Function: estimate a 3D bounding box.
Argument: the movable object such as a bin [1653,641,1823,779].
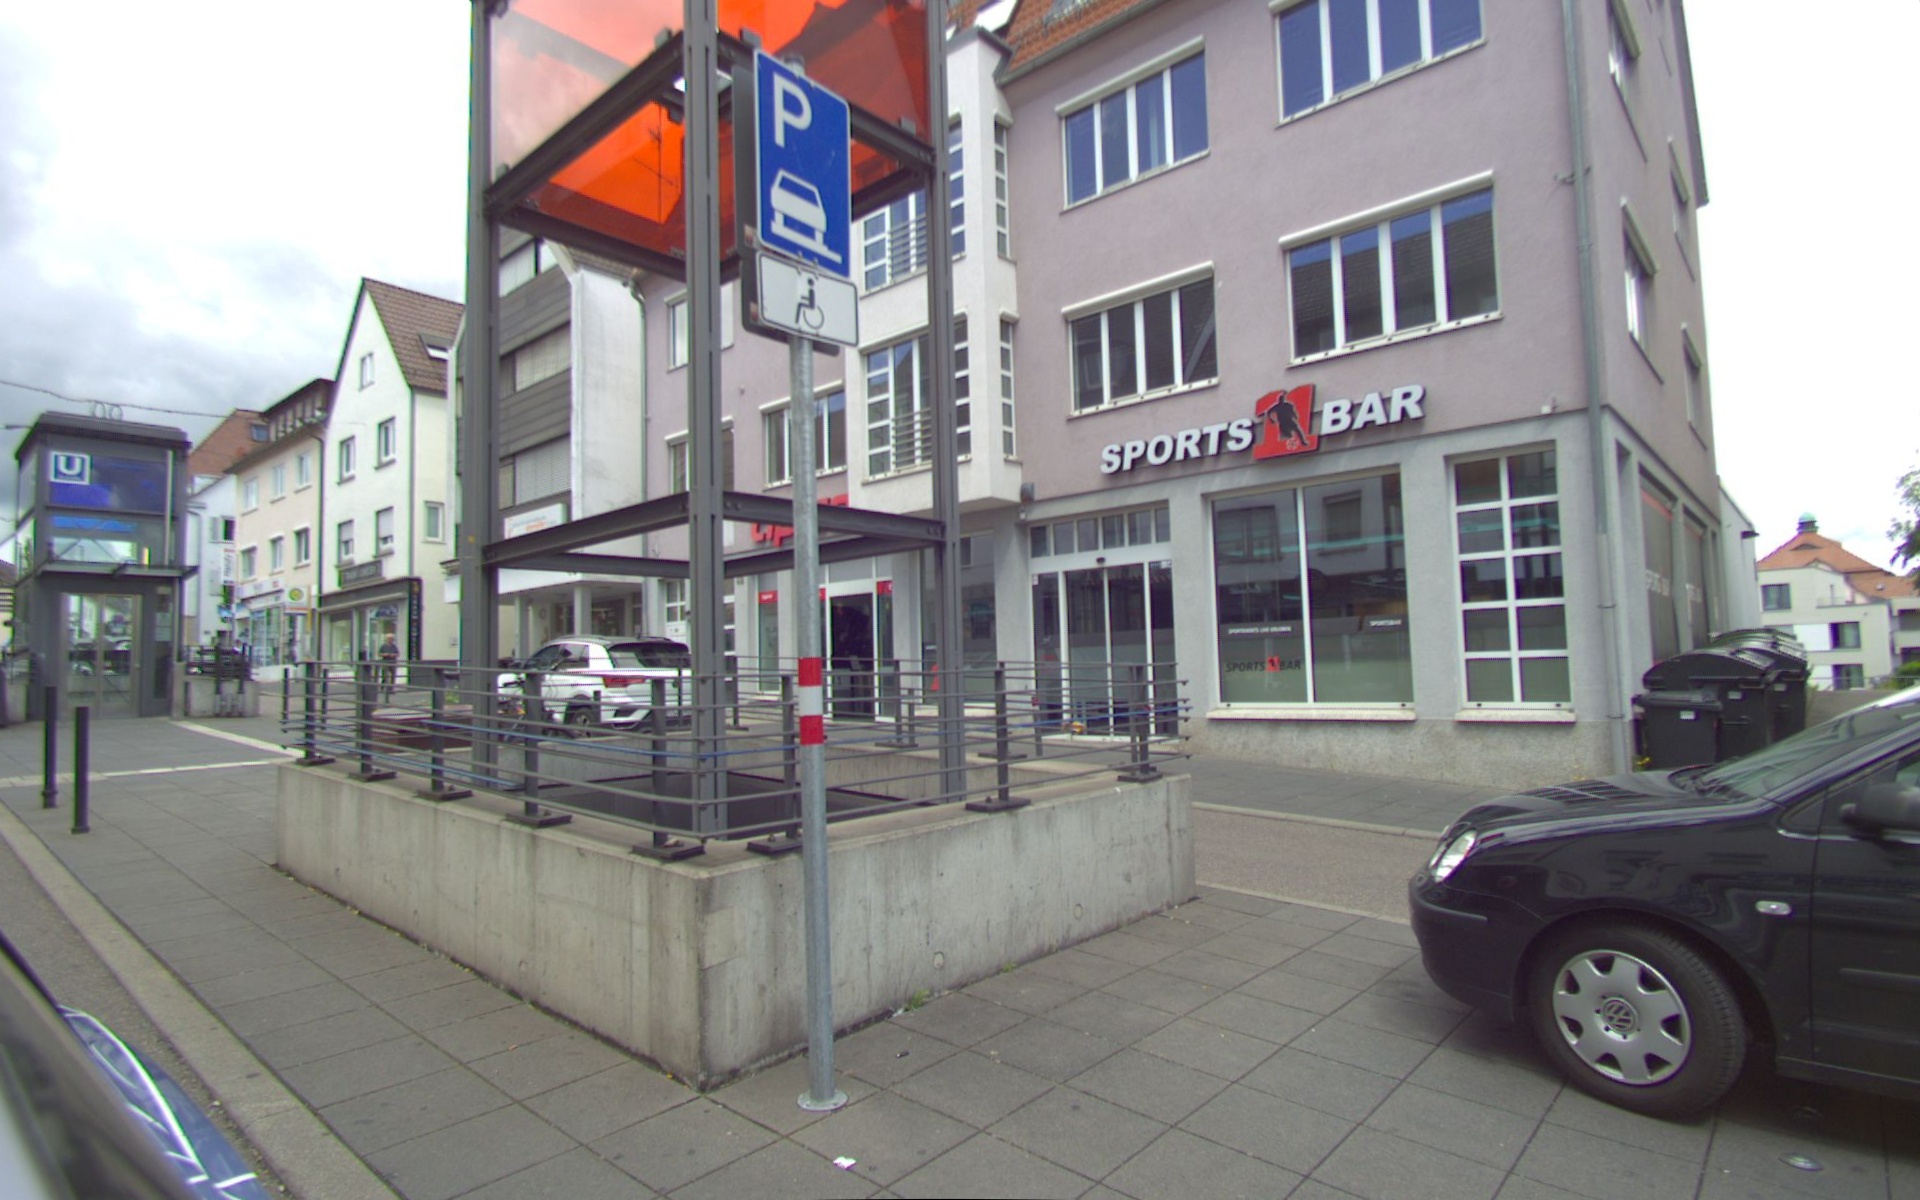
[{"bbox_3d":[8.680,1.161,11.297,1.406,1.387,1.270,-2,-2,41],"label":"movable object such as a bin"}]

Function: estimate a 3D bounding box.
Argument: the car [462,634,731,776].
[{"bbox_3d":[-5.041,1.292,13.764,4.120,1.583,1.662,-1,-1,41],"label":"car"}]

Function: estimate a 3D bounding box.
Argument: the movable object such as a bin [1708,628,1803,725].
[{"bbox_3d":[12.092,1.124,15.380,1.043,1.387,1.270,-2,-2,41],"label":"movable object such as a bin"}]

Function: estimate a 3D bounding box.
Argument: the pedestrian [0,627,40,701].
[{"bbox_3d":[-24.539,1.635,26.120,0.931,1.856,1.083,-1,-1,42],"label":"pedestrian"}]

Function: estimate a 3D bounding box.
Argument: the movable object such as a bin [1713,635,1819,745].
[{"bbox_3d":[10.904,1.175,13.691,1.043,1.387,1.270,-2,-2,41],"label":"movable object such as a bin"}]

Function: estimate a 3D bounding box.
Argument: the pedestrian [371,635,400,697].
[{"bbox_3d":[-16.231,1.852,28.594,0.513,1.729,0.584,-1,-1,41],"label":"pedestrian"}]

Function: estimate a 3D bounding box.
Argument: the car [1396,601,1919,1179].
[{"bbox_3d":[3.462,0.776,2.851,3.851,1.486,1.553,-1,-4,38],"label":"car"}]

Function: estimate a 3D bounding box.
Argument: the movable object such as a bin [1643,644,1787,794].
[{"bbox_3d":[7.770,1.158,10.405,1.067,1.387,1.270,-2,-2,41],"label":"movable object such as a bin"}]

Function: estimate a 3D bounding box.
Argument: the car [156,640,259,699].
[{"bbox_3d":[-22.720,2.042,30.501,4.120,1.583,1.662,-1,-1,41],"label":"car"}]

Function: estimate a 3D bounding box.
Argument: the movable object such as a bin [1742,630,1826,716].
[{"bbox_3d":[13.957,1.199,17.133,1.043,1.387,1.270,-2,-2,41],"label":"movable object such as a bin"}]

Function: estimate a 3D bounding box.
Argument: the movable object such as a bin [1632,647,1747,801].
[{"bbox_3d":[7.030,1.153,9.756,0.807,1.387,0.682,-2,-3,41],"label":"movable object such as a bin"}]

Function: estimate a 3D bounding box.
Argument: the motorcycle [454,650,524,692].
[{"bbox_3d":[-14.246,2.135,30.666,0.634,1.149,1.830,-1,-1,40],"label":"motorcycle"}]

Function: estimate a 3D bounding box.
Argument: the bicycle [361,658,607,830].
[{"bbox_3d":[-3.809,1.100,8.240,0.459,1.232,1.760,-1,-3,40],"label":"bicycle"}]
